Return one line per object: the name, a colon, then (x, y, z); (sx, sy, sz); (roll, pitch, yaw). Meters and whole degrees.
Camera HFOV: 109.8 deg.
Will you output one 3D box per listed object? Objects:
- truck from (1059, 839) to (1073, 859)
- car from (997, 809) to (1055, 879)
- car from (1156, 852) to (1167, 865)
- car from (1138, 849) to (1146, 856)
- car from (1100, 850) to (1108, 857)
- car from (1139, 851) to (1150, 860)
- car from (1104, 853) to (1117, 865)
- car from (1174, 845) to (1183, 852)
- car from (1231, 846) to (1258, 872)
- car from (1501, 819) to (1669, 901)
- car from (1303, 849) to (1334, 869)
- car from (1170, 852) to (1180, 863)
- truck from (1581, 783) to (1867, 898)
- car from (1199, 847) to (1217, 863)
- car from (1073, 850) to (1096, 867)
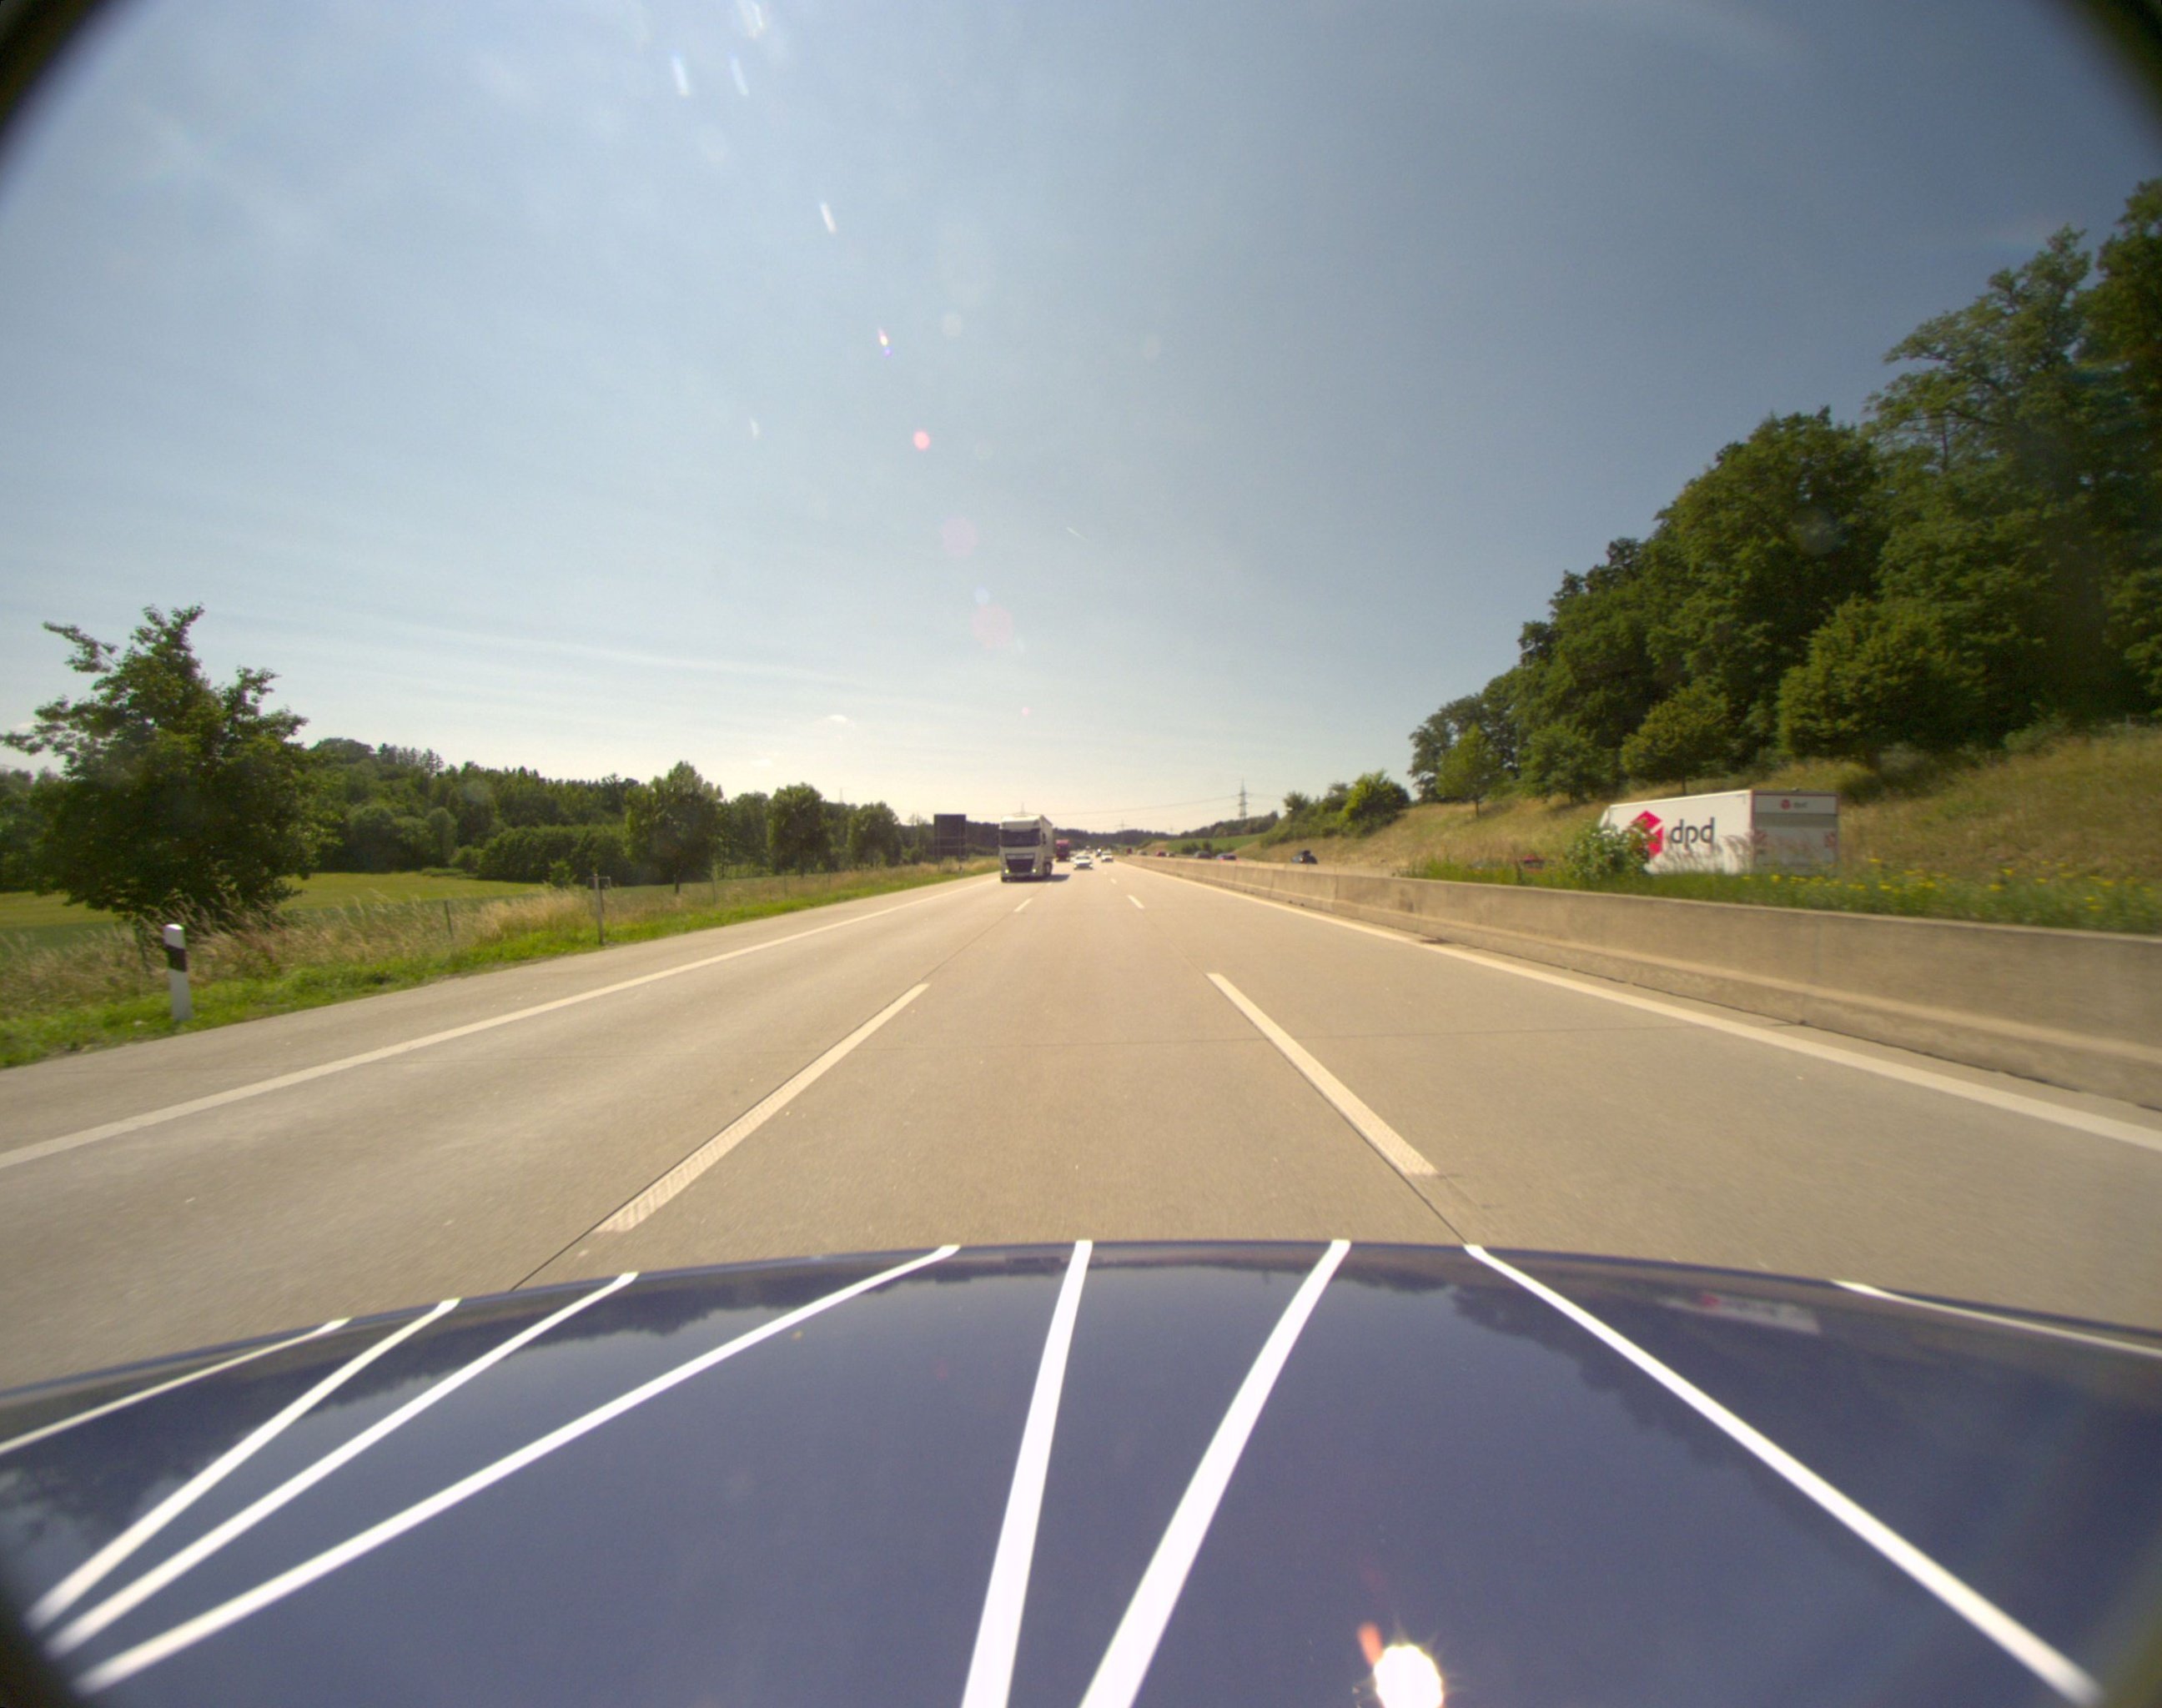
truck: (-2.765, -0.956, 140.390); (2.351, 3.473, 5.245); (-2, 0, 0)
car: (-3.398, -0.606, 49.721); (2.766, 4.029, 10.852); (-1, 0, 1)
car: (13.713, 0.731, 129.093); (1.525, 2.002, 3.151); (-2, 1, 1)
car: (18.281, -0.387, 228.895); (1.999, 2.002, 3.999); (-5, 0, -1)
car: (6.298, -0.092, 205.869); (1.998, 1.835, 6.529); (-3, 0, 1)
car: (13.982, 0.345, 167.429); (1.998, 2.002, 3.999); (-2, 1, 1)
car: (4.706, 0.827, 121.798); (1.850, 1.698, 6.035); (-2, 1, 1)
car: (27.090, -1.500, 212.178); (1.998, 2.002, 3.999); (-2, 1, 1)
car: (13.193, 0.378, 61.497); (1.525, 2.002, 3.151); (-2, 1, 1)
car: (13.828, 0.130, 21.174); (1.998, 2.002, 3.999); (-2, 1, 1)
car: (20.538, 0.451, 65.701); (1.618, 1.563, 3.135); (-4, 0, 1)
car: (18.006, 0.619, 146.228); (1.525, 2.002, 3.151); (-2, 1, 1)
truck: (21.396, -0.430, 26.215); (2.902, 3.333, 8.258); (0, 1, 1)
car: (14.199, 0.077, 84.968); (1.525, 1.632, 3.151); (-2, 1, 1)
car: (0.380, 0.403, 75.152); (2.065, 1.472, 5.068); (-4, 0, 0)
